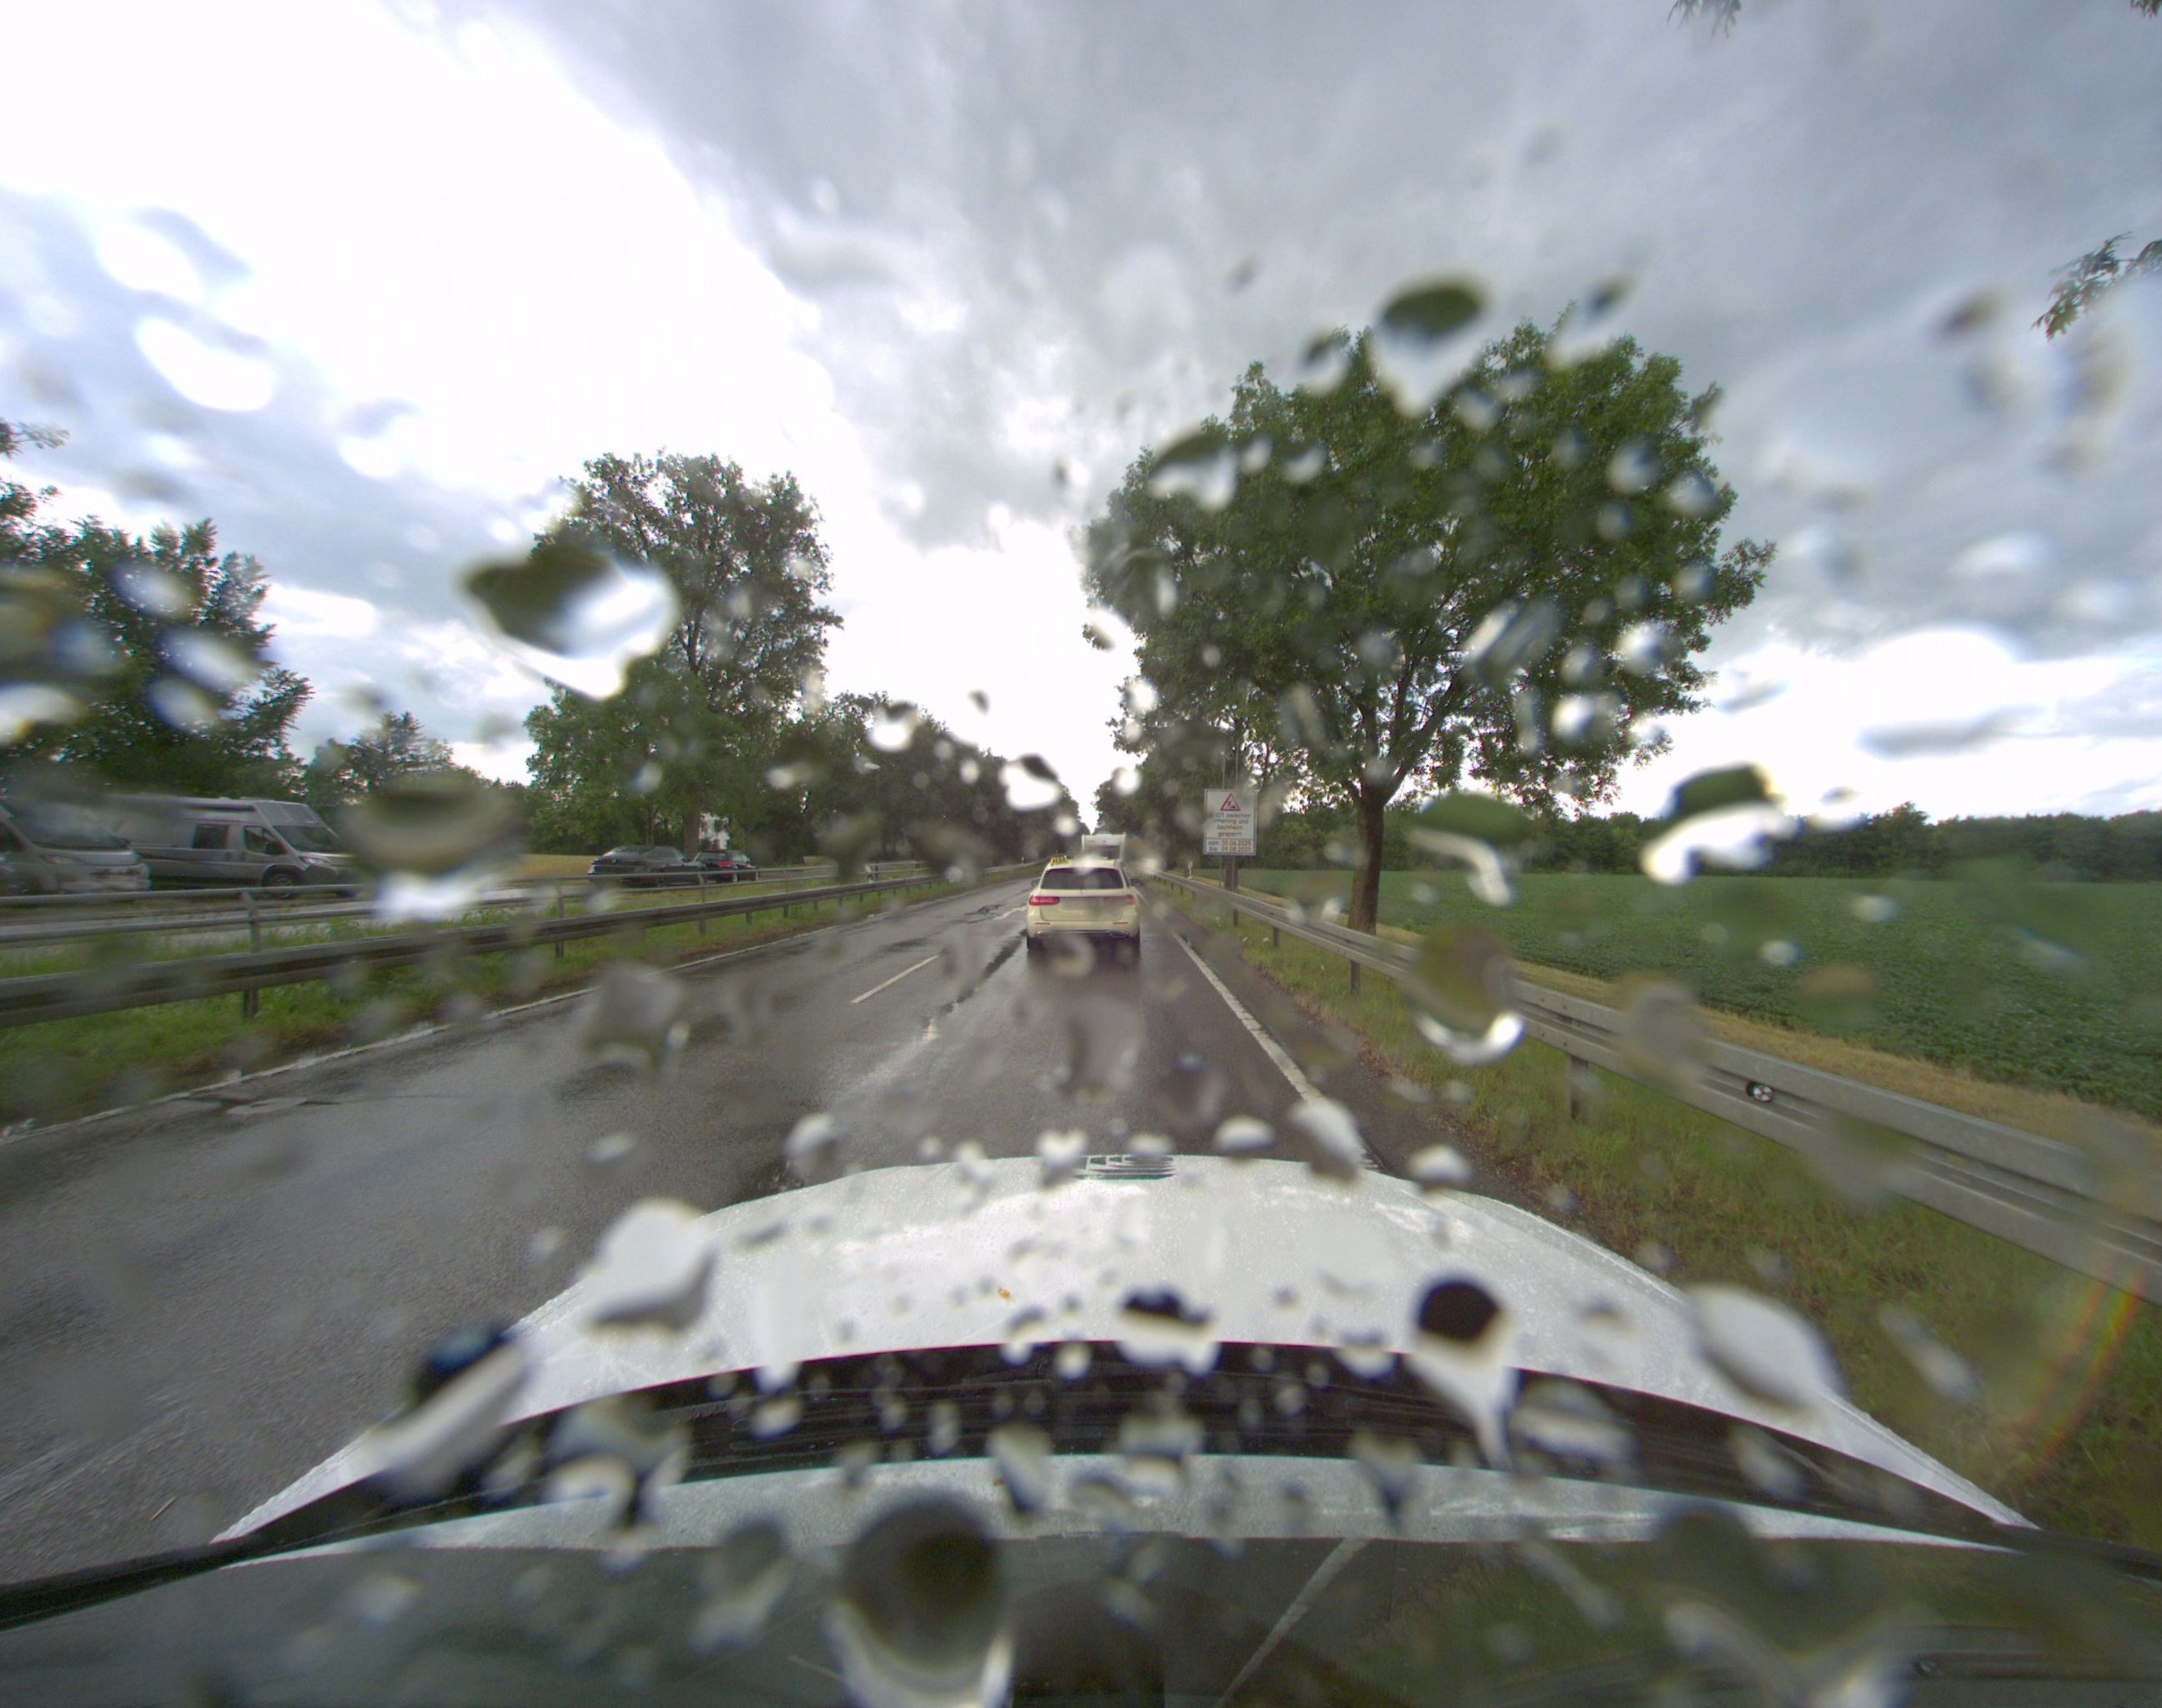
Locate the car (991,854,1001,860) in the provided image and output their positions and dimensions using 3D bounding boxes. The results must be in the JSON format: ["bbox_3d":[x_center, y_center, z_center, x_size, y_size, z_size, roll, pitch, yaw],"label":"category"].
[{"bbox_3d":[-20.337,0.674,194.722,1.779,1.416,4.000,1,0,0],"label":"car"}]

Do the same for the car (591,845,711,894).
[{"bbox_3d":[-14.466,0.470,27.753,1.512,1.491,5.117,1,0,-3],"label":"car"}]

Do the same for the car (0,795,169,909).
[{"bbox_3d":[-24.748,-0.074,18.754,5.077,2.459,1.999,1,0,-1],"label":"car"}]

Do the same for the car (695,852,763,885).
[{"bbox_3d":[-14.740,0.576,34.277,1.279,1.331,3.894,0,0,-2],"label":"car"}]

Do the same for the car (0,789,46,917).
[{"bbox_3d":[-23.755,-0.066,15.507,5.171,2.501,1.997,1,0,-4],"label":"car"}]

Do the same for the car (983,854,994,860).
[{"bbox_3d":[-20.520,0.673,181.105,1.778,1.416,4.003,1,0,3],"label":"car"}]

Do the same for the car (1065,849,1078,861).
[{"bbox_3d":[-1.441,0.120,119.528,1.758,1.619,4.001,-1,0,1],"label":"car"}]

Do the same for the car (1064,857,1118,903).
[{"bbox_3d":[0.408,0.824,27.749,1.657,1.430,4.003,-1,0,3],"label":"car"}]

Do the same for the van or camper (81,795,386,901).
[{"bbox_3d":[-23.126,-0.156,22.445,5.863,2.677,2.079,1,0,-4],"label":"van or camper"}]

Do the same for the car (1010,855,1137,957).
[{"bbox_3d":[-0.016,0.773,14.077,1.857,1.476,4.003,-1,0,3],"label":"car"}]

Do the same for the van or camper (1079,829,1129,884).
[{"bbox_3d":[1.294,0.126,43.232,2.479,2.685,5.704,0,0,3],"label":"van or camper"}]
